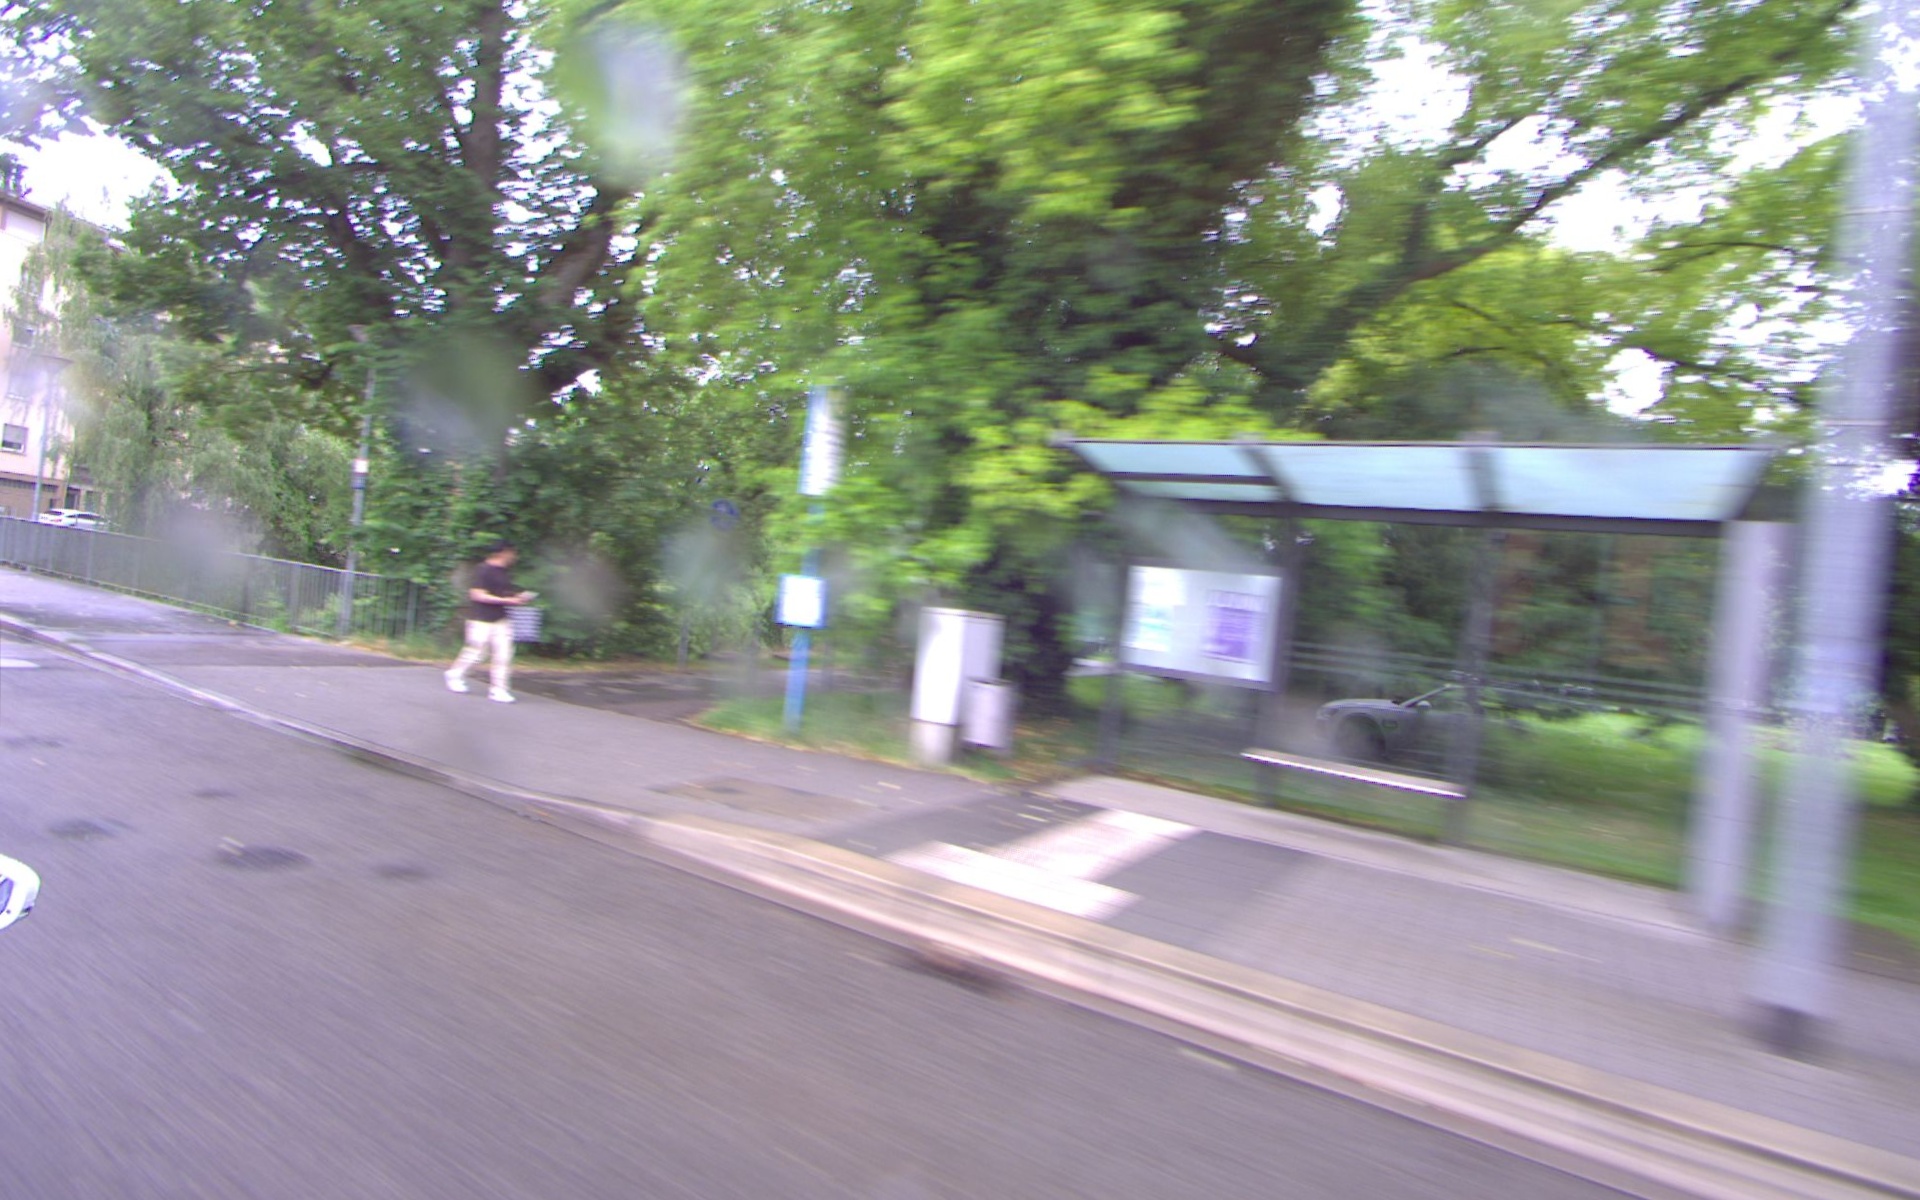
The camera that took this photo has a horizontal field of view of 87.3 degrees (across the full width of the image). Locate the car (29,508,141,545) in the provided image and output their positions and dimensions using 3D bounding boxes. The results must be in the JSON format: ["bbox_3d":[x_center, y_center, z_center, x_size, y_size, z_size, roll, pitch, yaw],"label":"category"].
[{"bbox_3d":[-49.661,-4.128,57.215,1.782,1.393,4.455,9,0,15],"label":"car"}]

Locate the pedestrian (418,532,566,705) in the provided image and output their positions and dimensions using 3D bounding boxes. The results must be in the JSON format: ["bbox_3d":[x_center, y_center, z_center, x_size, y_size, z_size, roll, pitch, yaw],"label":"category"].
[{"bbox_3d":[-5.034,0.189,10.828,1.148,1.698,0.848,6,2,31],"label":"pedestrian"}]
